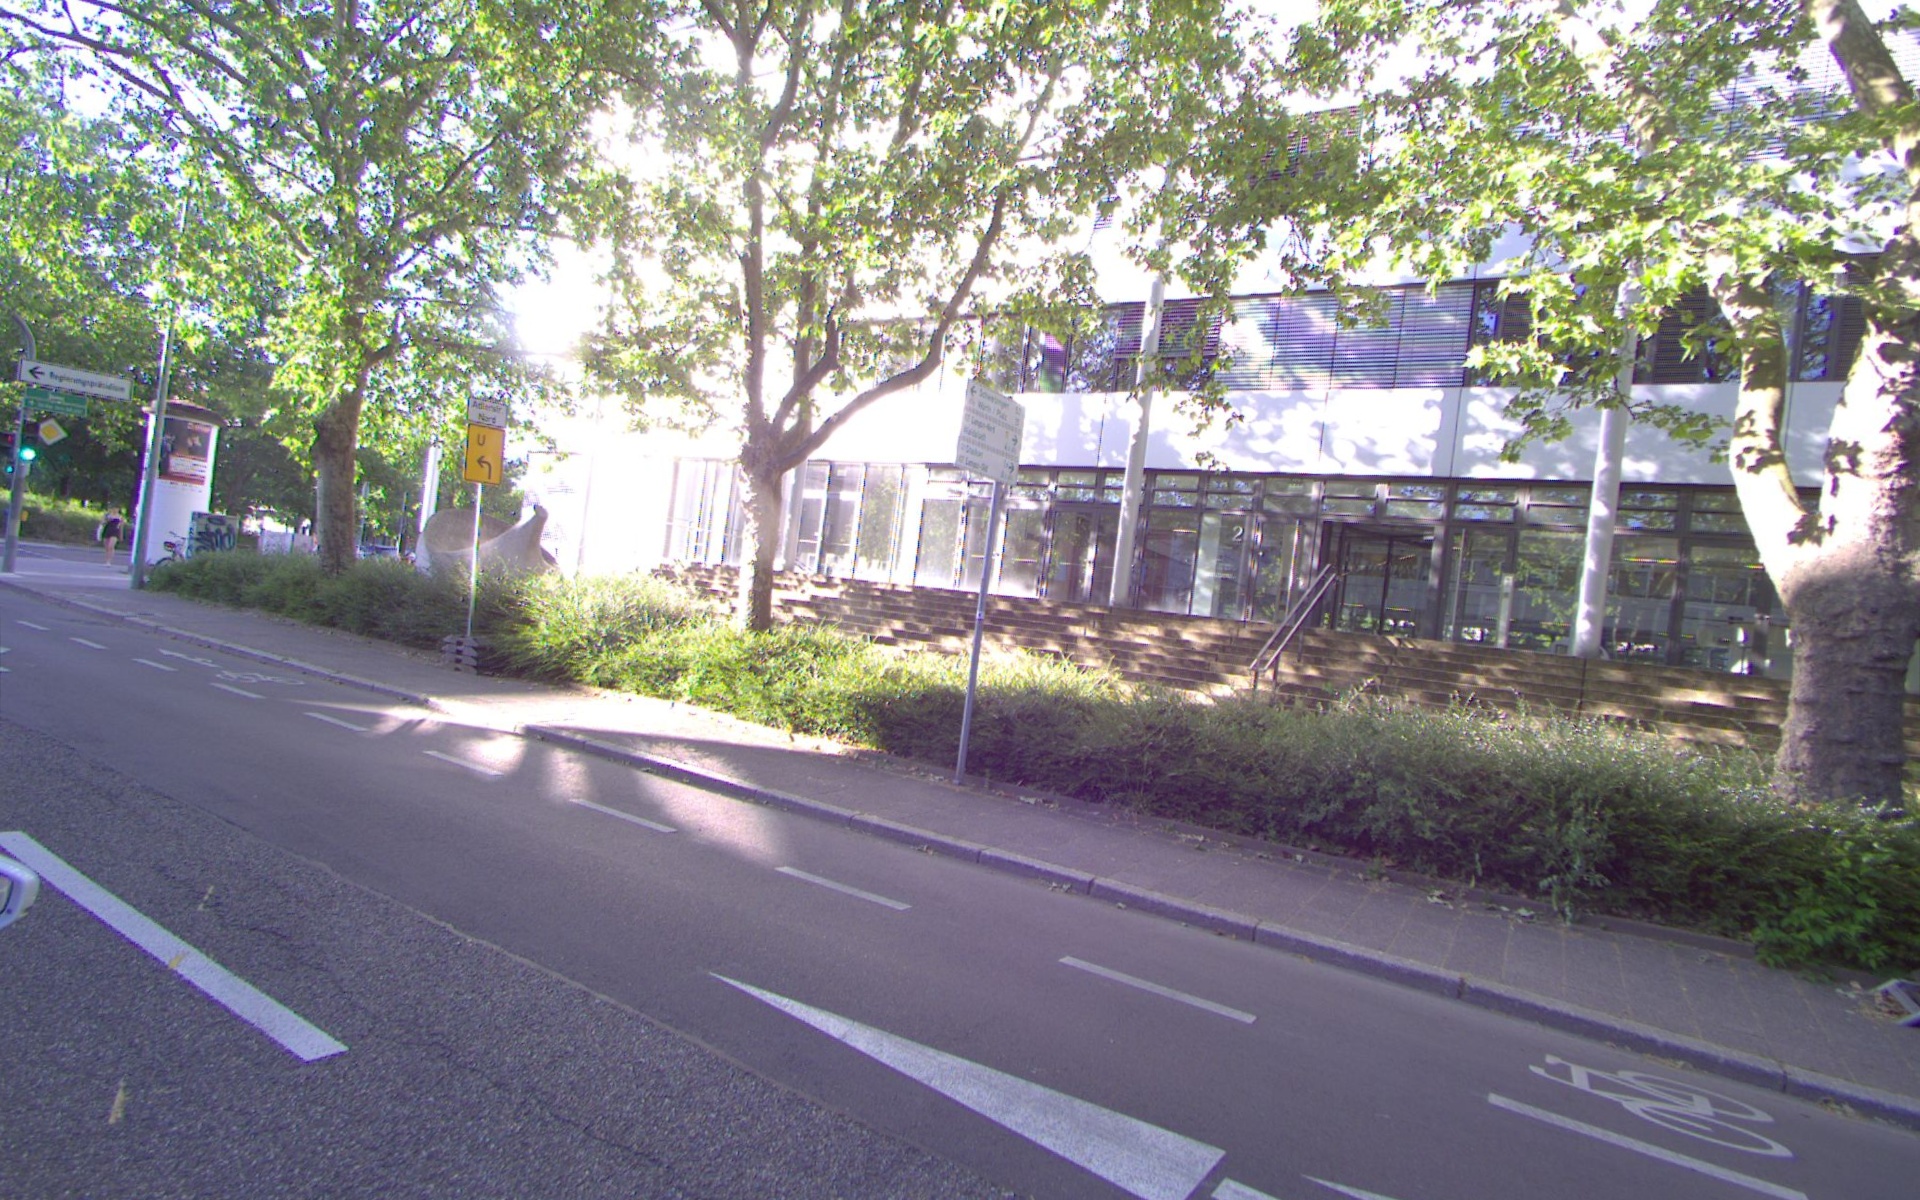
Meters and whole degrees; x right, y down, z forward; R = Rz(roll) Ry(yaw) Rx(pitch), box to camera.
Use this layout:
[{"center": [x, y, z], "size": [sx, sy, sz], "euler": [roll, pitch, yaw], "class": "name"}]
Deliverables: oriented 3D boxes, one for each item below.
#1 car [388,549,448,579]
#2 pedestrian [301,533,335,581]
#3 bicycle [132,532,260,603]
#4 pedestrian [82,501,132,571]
[{"center": [-35.564, -2.341, 65.964], "size": [3.732, 1.500, 1.633], "euler": [6, -2, 31], "class": "car"}, {"center": [-26.900, -1.801, 42.143], "size": [0.674, 1.857, 0.782], "euler": [7, -1, 25], "class": "pedestrian"}, {"center": [-15.937, -0.657, 21.050], "size": [0.519, 1.203, 1.980], "euler": [7, -2, 30], "class": "bicycle"}, {"center": [-21.855, -1.633, 25.779], "size": [0.795, 1.649, 0.897], "euler": [8, -1, -41], "class": "pedestrian"}]
